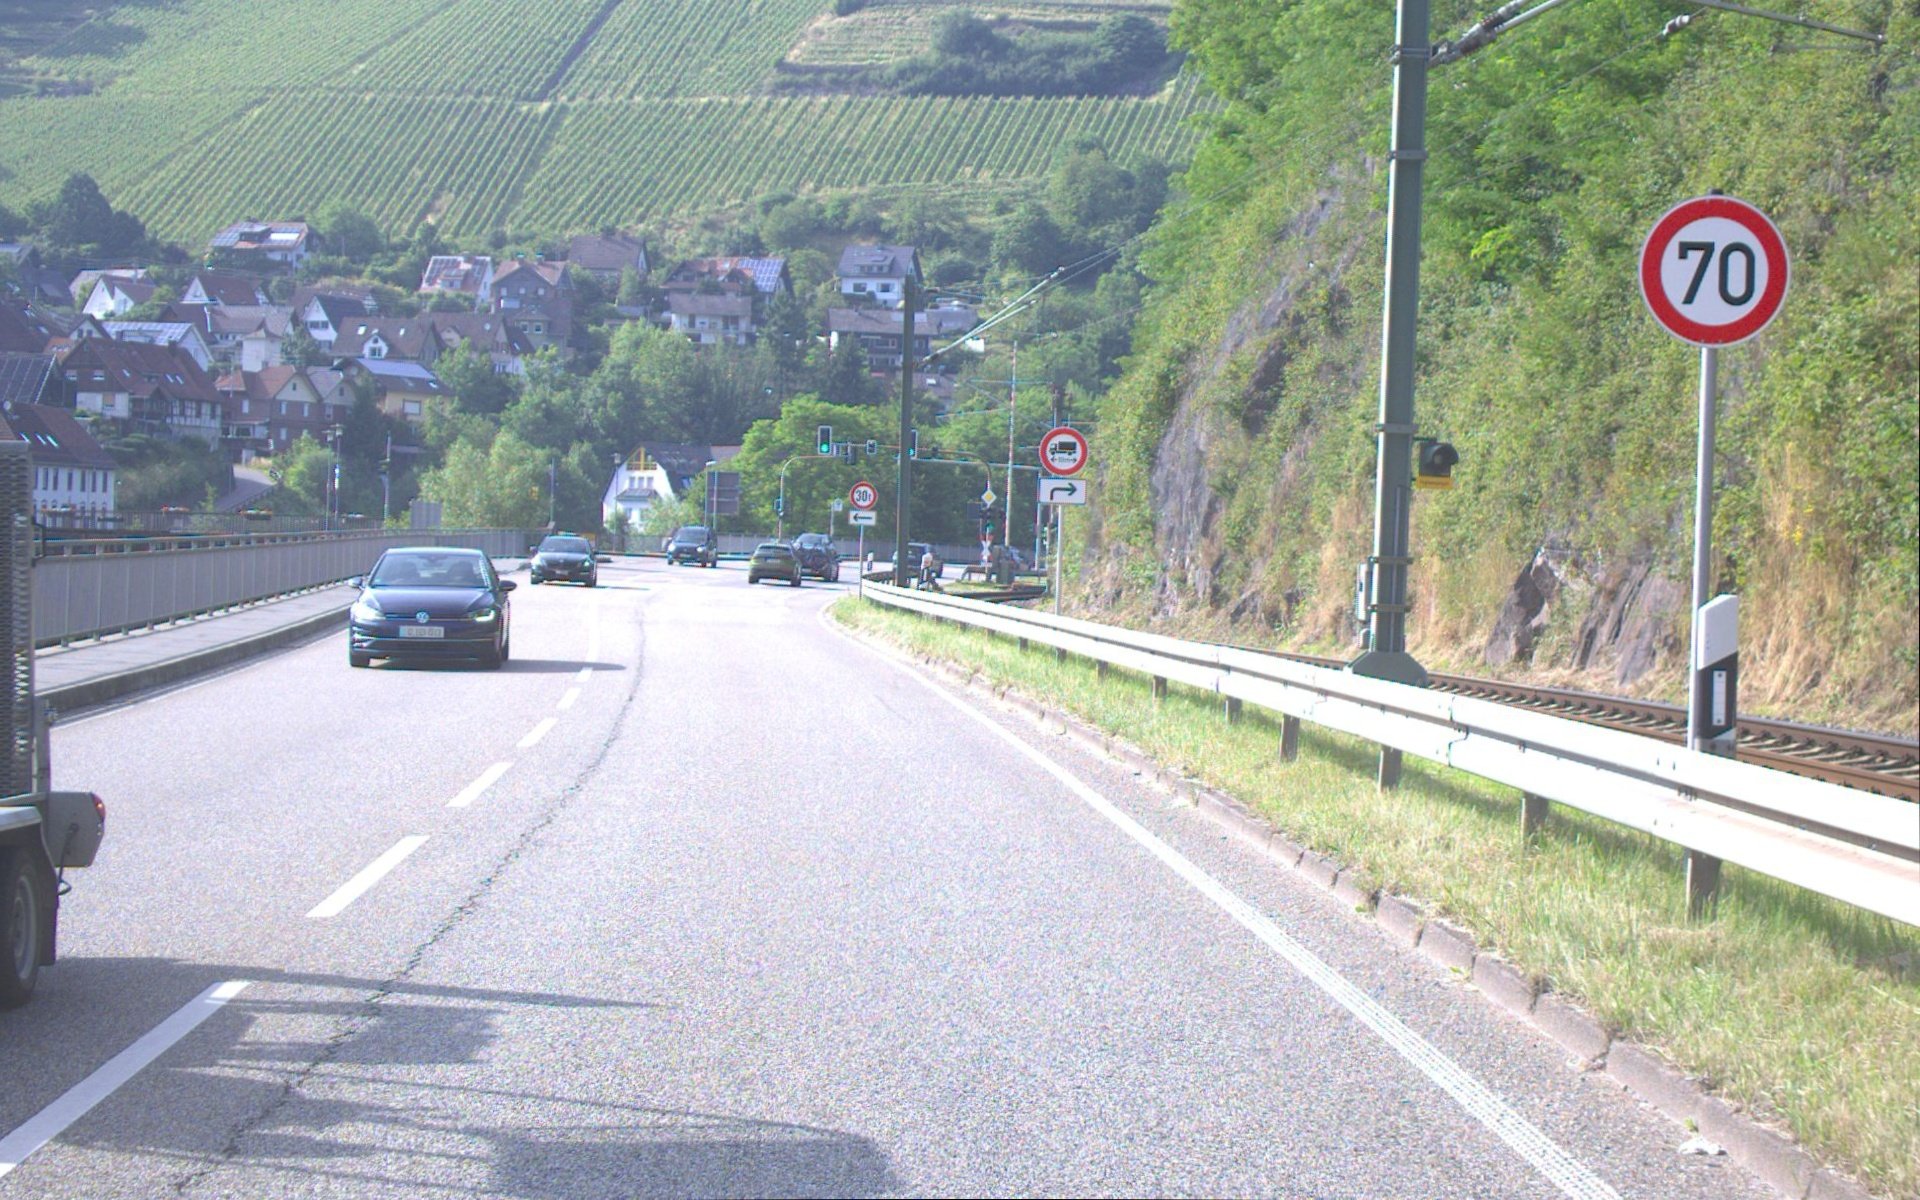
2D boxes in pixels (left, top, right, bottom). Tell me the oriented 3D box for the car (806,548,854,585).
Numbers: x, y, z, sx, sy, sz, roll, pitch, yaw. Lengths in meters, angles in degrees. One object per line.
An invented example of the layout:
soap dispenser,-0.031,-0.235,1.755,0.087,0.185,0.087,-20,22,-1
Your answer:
car,-5.374,-1.377,142.019,1.840,1.454,3.713,2,0,-4

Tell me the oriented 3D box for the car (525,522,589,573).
car,-11.677,-1.532,99.739,1.720,1.430,4.341,1,1,-6

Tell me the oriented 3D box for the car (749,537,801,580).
car,-6.586,-1.471,122.637,1.728,1.452,3.411,2,0,-1

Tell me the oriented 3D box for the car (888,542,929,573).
car,-2.549,-2.112,171.440,1.807,1.448,3.647,2,0,2

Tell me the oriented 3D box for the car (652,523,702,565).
car,-12.754,-2.534,155.023,1.791,1.821,4.829,2,1,0

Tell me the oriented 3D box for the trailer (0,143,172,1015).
trailer,-4.034,-0.067,10.439,2.121,2.707,5.348,1,1,-1

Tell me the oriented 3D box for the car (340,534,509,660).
car,-6.415,-0.055,41.535,1.703,1.426,4.075,1,1,-5

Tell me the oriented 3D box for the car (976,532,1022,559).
car,2.205,-3.071,193.352,1.809,1.403,3.771,2,0,12
